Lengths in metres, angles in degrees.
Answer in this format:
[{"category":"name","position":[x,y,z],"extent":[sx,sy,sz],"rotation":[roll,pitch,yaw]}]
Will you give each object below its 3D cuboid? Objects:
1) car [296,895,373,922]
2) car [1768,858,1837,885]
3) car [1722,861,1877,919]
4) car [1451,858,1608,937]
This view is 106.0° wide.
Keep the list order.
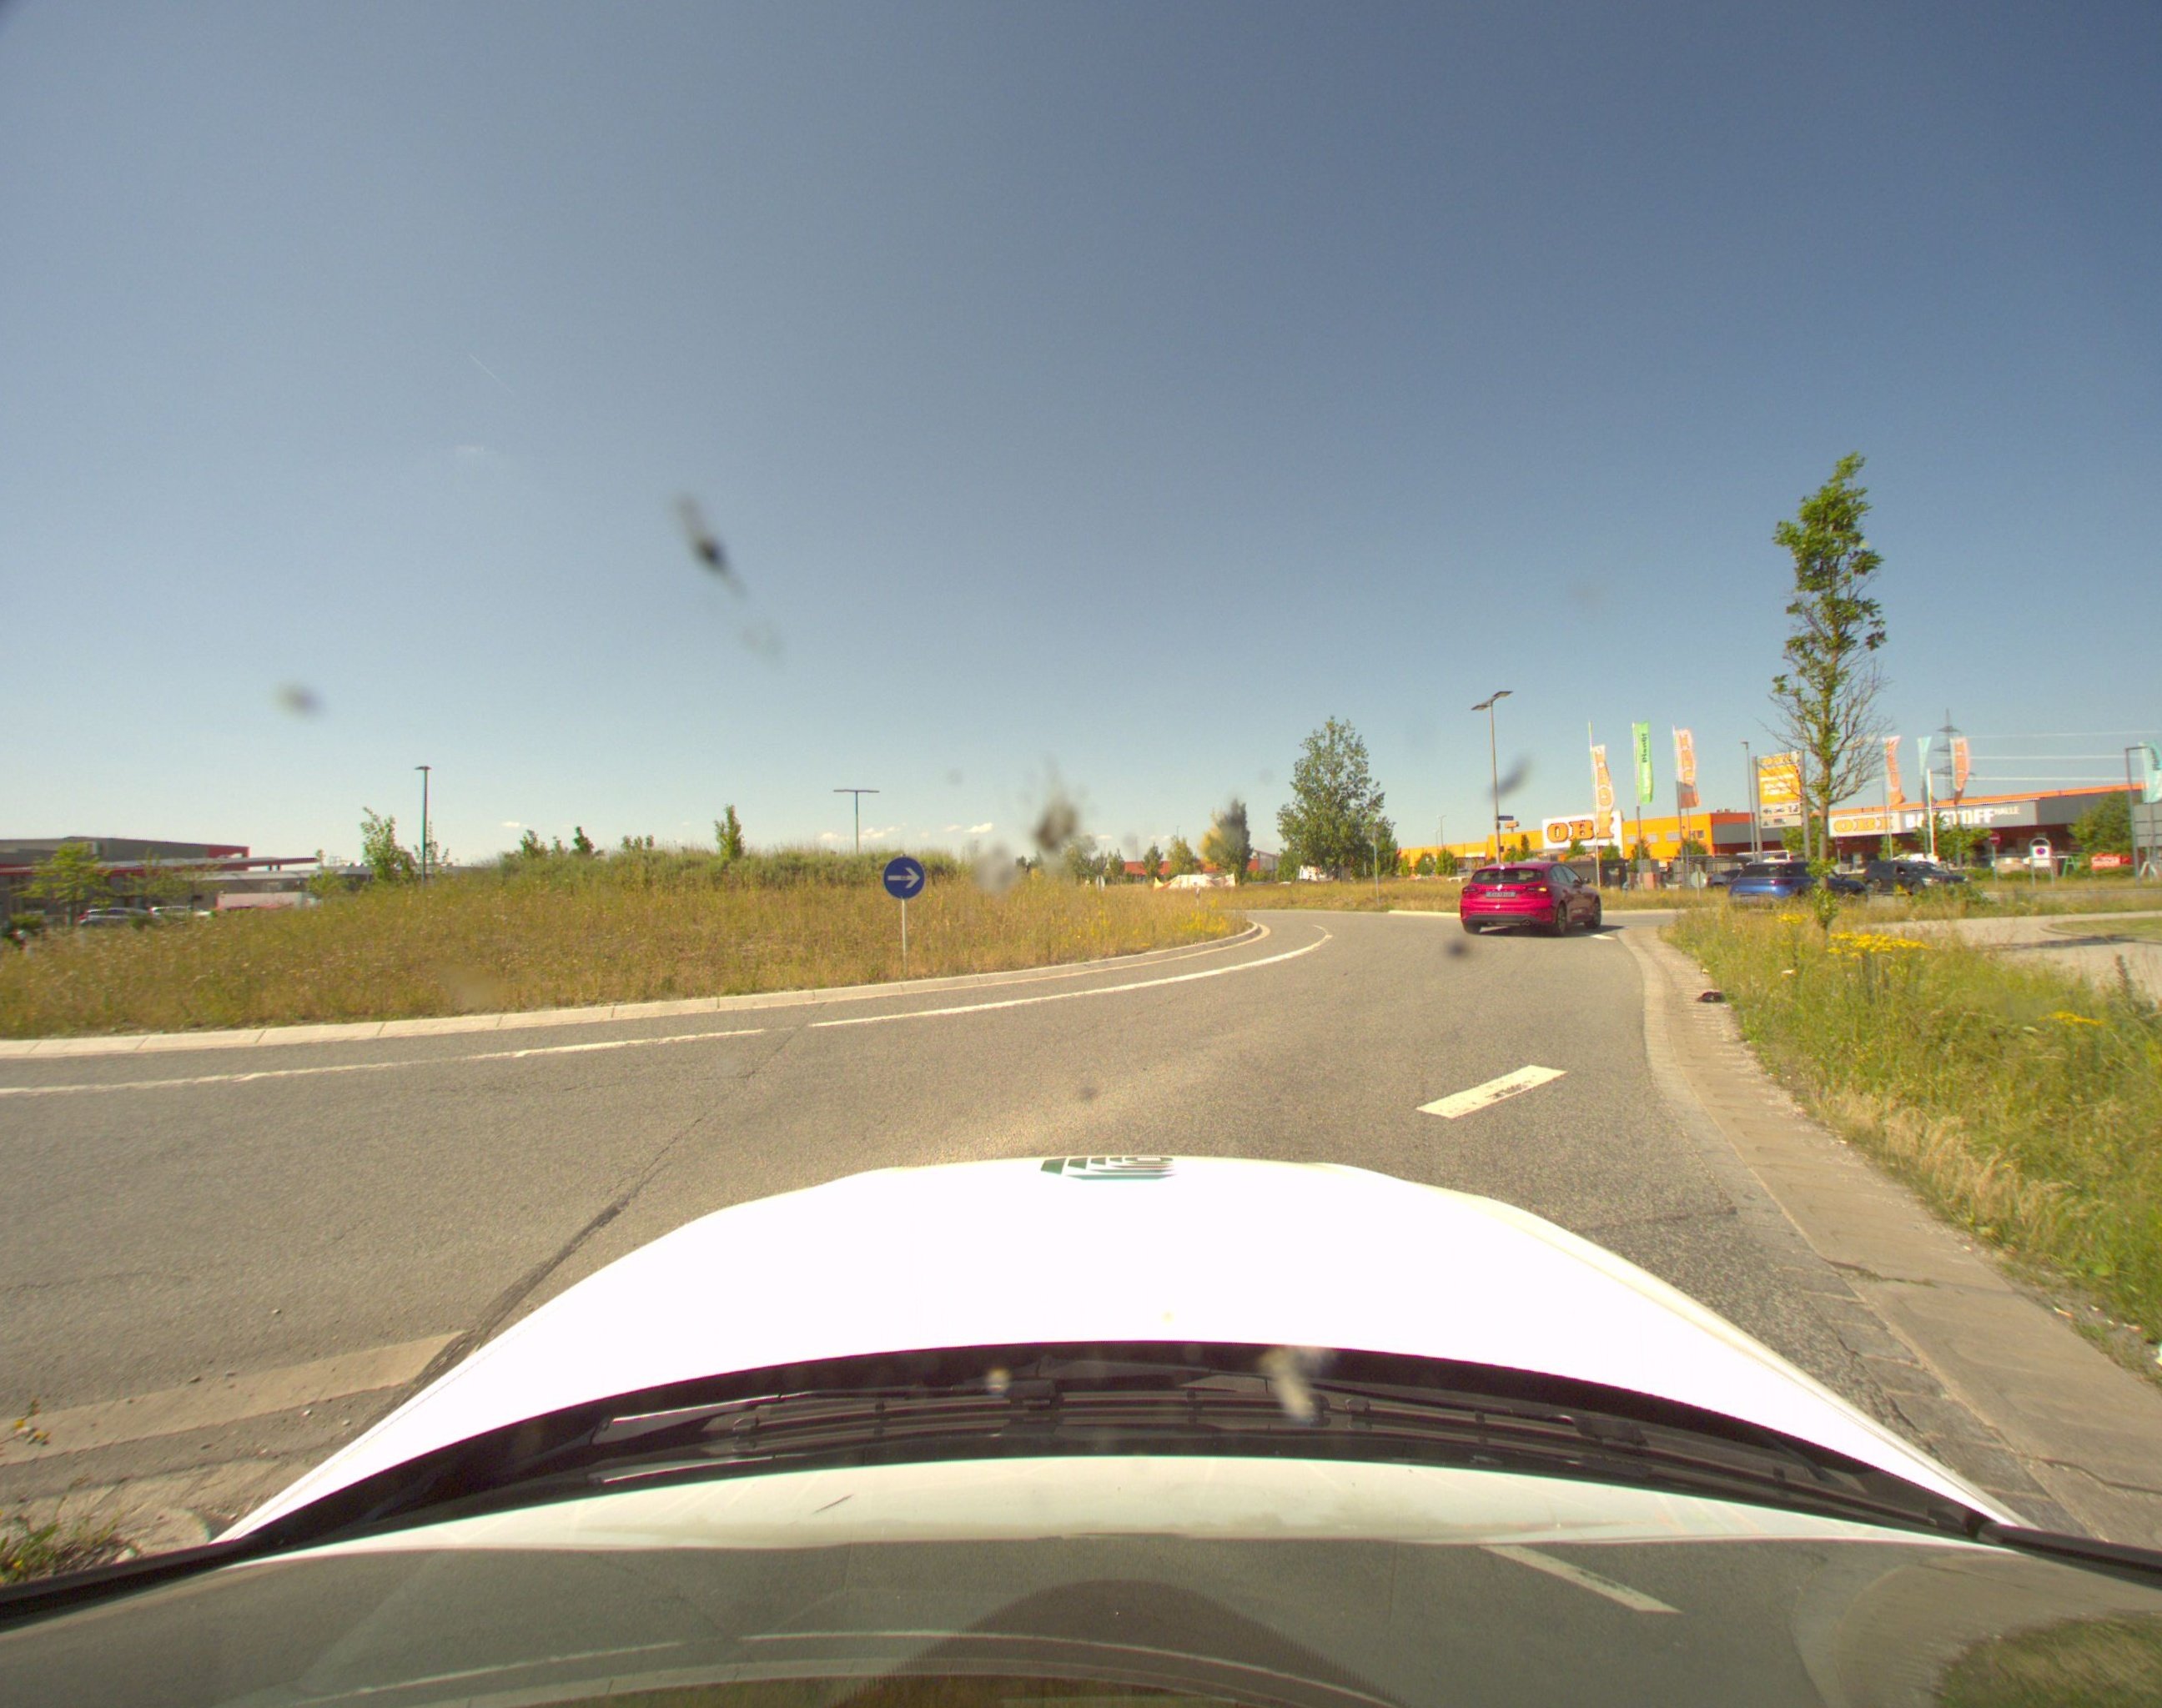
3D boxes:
[{"category":"car","position":[-58.281,4.222,63.726],"extent":[1.994,2.014,5.115],"rotation":[-1,-3,-11]},{"category":"car","position":[49.924,1.231,56.366],"extent":[3.768,1.841,1.692],"rotation":[1,-3,-15]},{"category":"car","position":[22.117,1.077,25.092],"extent":[4.080,1.635,1.844],"rotation":[0,-2,-20]},{"category":"car","position":[9.366,0.818,16.867],"extent":[1.786,1.416,4.142],"rotation":[-3,-2,44]}]
